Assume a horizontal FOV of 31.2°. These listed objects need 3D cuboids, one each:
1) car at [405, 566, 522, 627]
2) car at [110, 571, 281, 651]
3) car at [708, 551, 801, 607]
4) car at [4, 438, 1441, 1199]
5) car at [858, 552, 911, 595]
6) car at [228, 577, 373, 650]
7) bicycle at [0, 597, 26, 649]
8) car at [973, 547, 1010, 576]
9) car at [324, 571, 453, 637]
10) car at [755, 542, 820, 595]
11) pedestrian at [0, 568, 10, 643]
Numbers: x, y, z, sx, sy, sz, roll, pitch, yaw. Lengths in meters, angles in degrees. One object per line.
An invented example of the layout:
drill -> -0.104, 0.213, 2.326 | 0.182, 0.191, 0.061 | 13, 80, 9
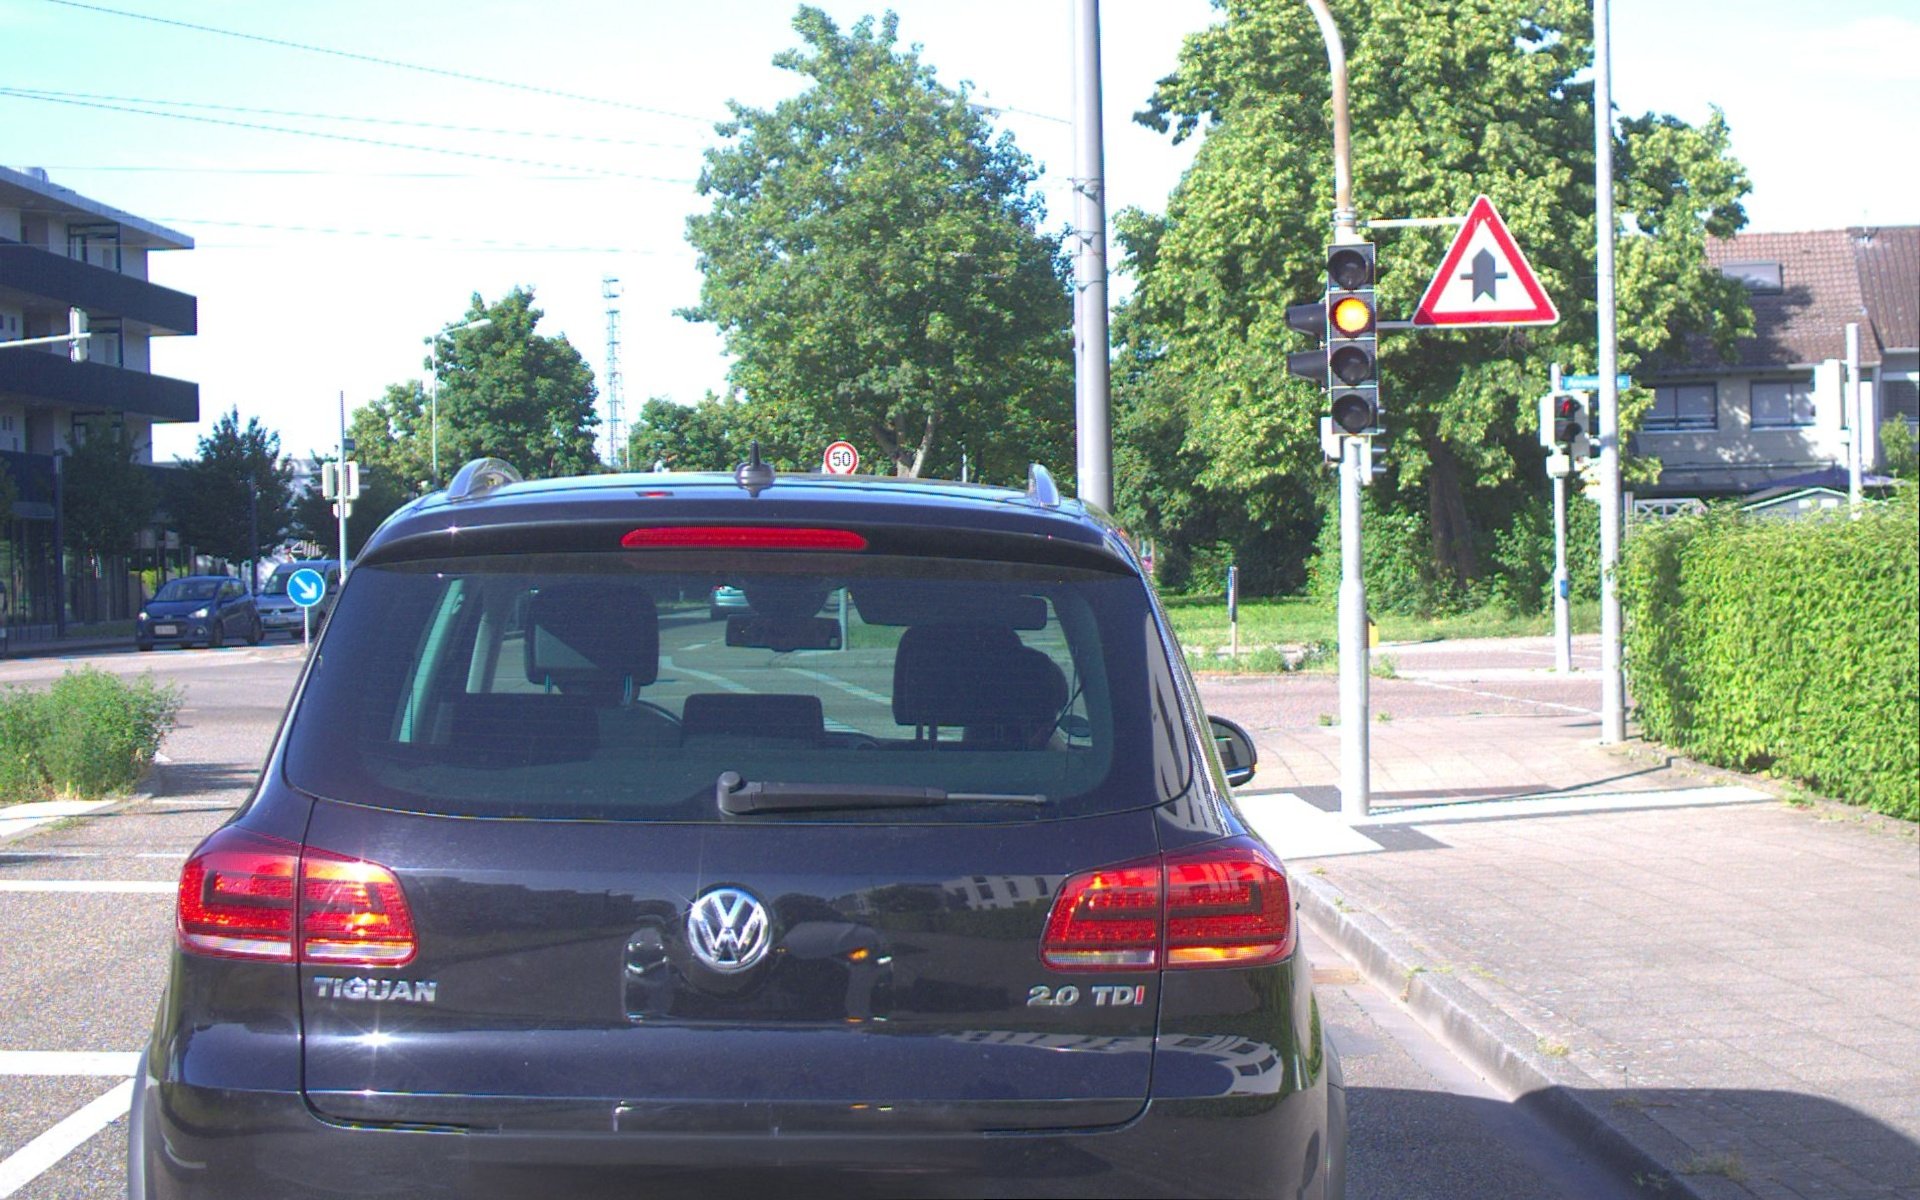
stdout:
car -> -13.120, -0.110, 91.056 | 1.994, 1.569, 4.338 | 1, 1, 7
car -> -15.833, 0.202, 71.441 | 1.994, 1.569, 4.337 | 1, 1, 9
car -> -5.717, -0.602, 96.052 | 1.864, 1.480, 4.109 | -1, 1, 7
car -> -0.338, 0.596, 6.507 | 1.869, 1.632, 4.000 | 1, 1, -1
car -> -3.270, -1.151, 149.786 | 1.994, 1.830, 4.000 | 1, 1, 3
car -> -14.964, 0.281, 78.262 | 1.994, 1.569, 4.338 | 1, 1, 7
bicycle -> -19.206, 0.453, 67.572 | 0.771, 0.986, 2.431 | 1, 1, 7
car -> 1.839, -2.271, 203.300 | 1.993, 1.678, 4.000 | 1, 1, -2
car -> -14.102, 0.079, 85.023 | 1.994, 1.569, 4.338 | 1, 1, 7
car -> -5.731, -1.076, 114.740 | 1.864, 1.714, 3.687 | -1, 1, 1
pedestrian -> -19.223, 0.107, 67.590 | 0.711, 1.468, 0.953 | 1, 0, 7
